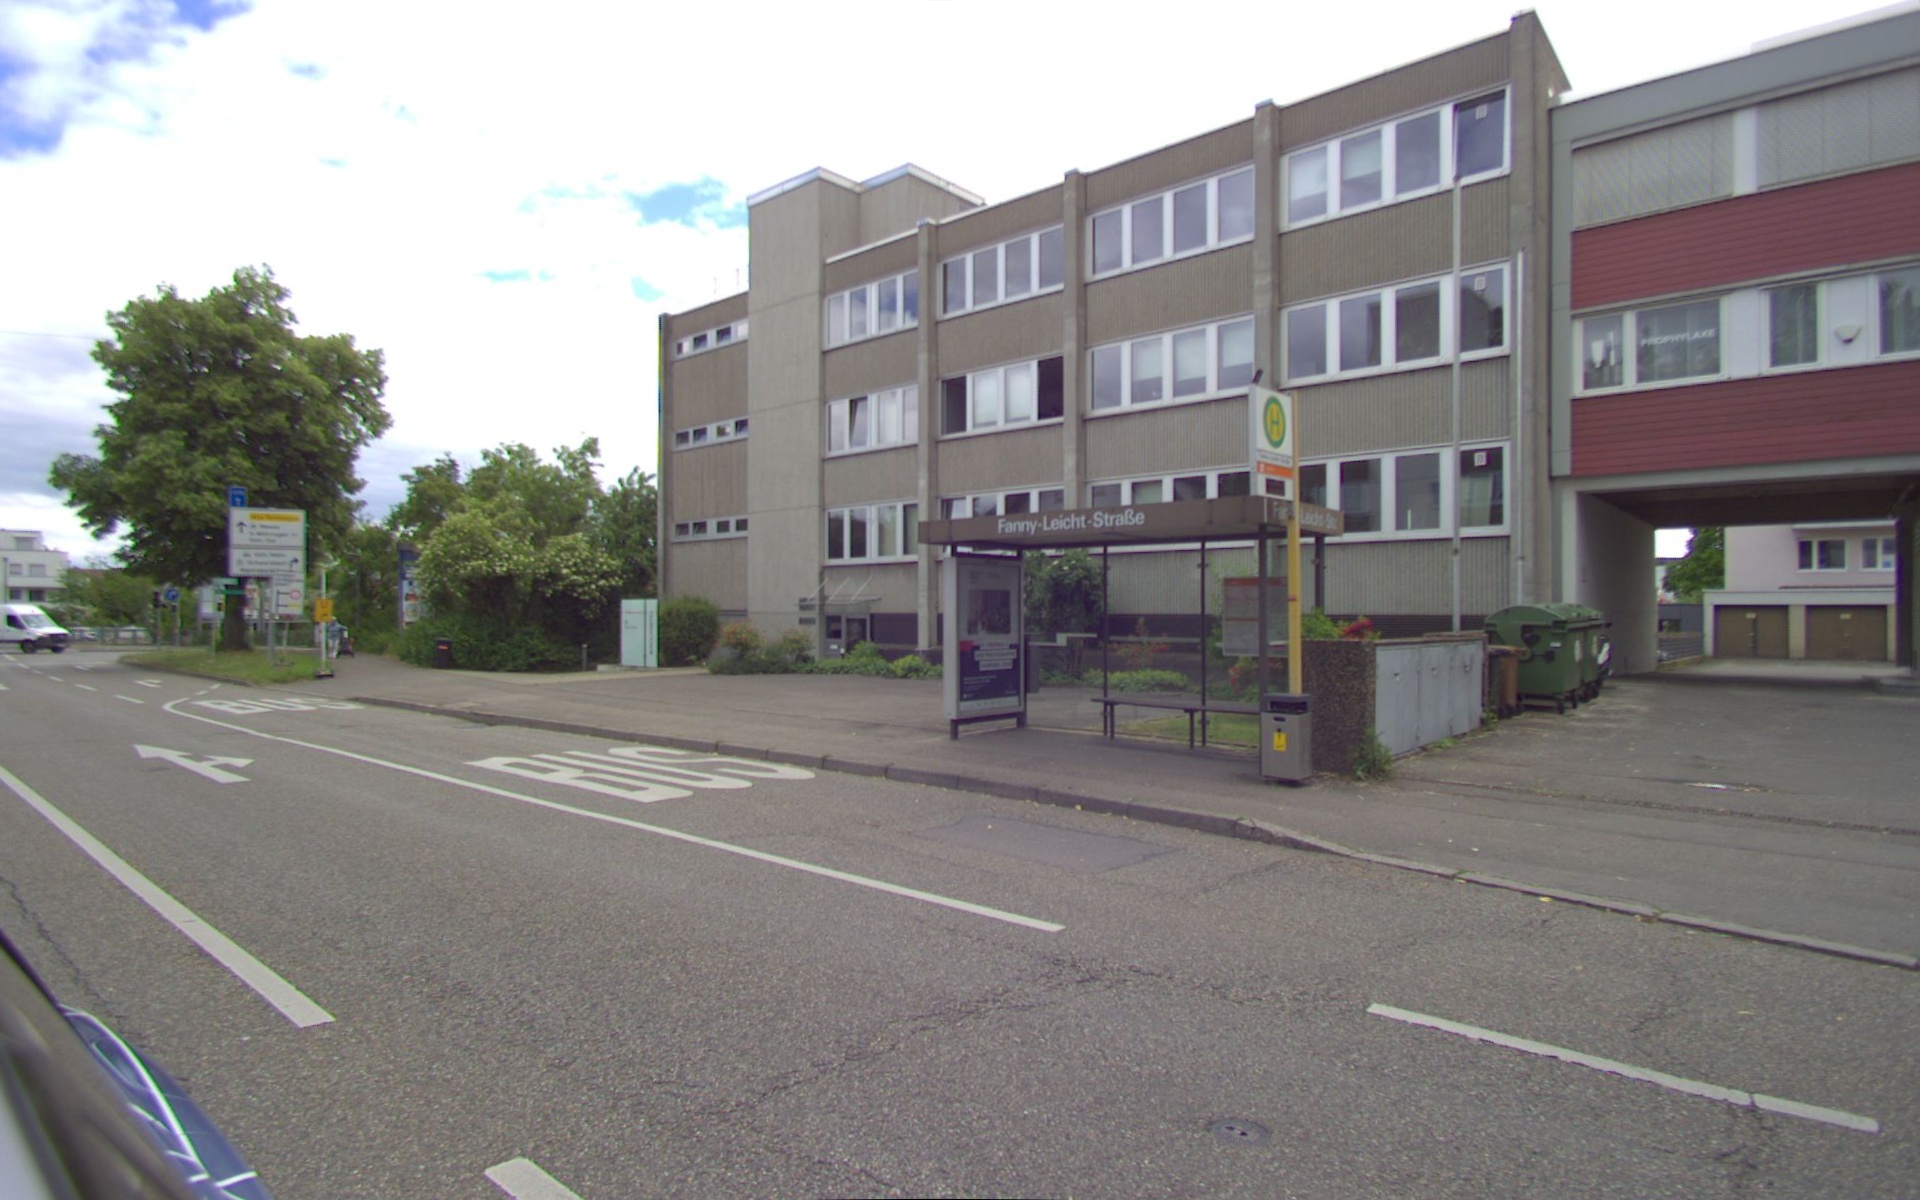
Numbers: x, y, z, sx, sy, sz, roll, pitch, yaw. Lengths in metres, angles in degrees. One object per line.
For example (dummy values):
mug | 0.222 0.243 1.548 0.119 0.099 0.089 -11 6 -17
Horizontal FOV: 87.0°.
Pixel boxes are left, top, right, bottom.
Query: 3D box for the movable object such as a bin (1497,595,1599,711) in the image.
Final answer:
movable object such as a bin | 8.137 0.696 13.986 0.992 1.476 1.285 -1 1 41

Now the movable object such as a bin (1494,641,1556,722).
movable object such as a bin | 7.188 1.018 12.878 0.562 0.946 0.626 -1 1 41

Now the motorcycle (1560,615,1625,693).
motorcycle | 10.393 0.850 16.616 0.639 1.148 1.624 -1 1 41

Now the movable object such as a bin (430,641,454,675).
movable object such as a bin | -15.288 1.705 29.876 0.558 0.934 0.609 -1 0 -33

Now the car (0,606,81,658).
car | -52.089 1.744 54.626 7.342 2.665 2.197 -1 1 1

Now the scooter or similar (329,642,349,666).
scooter or similar | -23.065 2.000 37.594 0.598 0.792 0.861 -2 1 -32

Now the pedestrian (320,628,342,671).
pedestrian | -23.815 1.856 38.329 0.662 1.570 0.521 -2 1 -32

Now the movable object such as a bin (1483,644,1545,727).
movable object such as a bin | 6.800 1.035 12.429 0.562 0.946 0.510 -1 1 41

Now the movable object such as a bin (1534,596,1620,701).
movable object such as a bin | 9.333 0.691 15.285 0.884 1.476 1.347 -1 1 41
